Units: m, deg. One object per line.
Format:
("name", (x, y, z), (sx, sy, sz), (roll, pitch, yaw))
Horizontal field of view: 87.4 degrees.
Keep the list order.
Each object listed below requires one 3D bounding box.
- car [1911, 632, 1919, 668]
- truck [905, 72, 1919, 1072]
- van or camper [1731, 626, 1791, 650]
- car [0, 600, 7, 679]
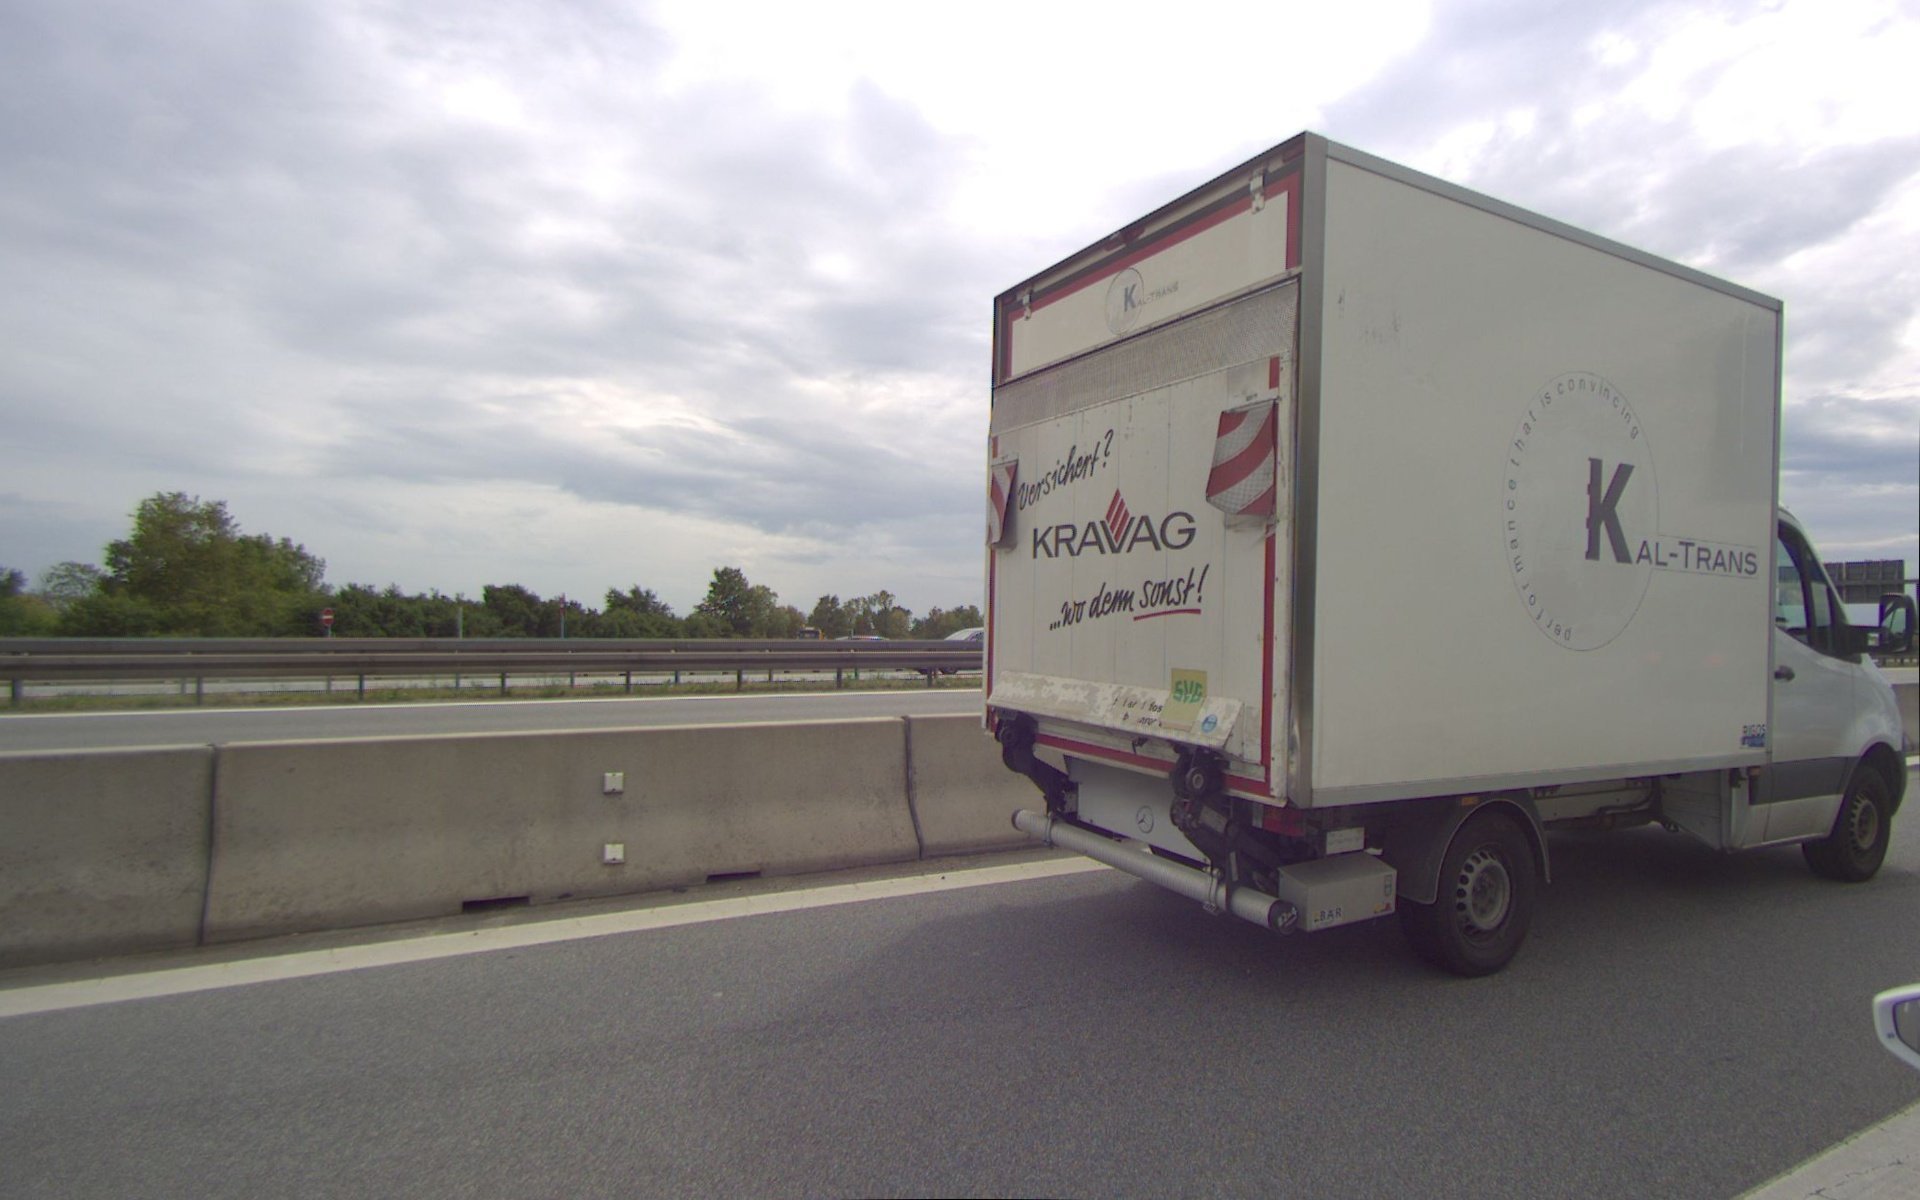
("car", (41.234, 2.098, 41.434), (4.332, 1.469, 1.764), (2, -1, -30))
("truck", (3.052, -0.017, 5.719), (6.291, 3.131, 2.394), (2, -1, -29))
("van or camper", (70.559, 3.363, 88.441), (6.209, 2.040, 2.223), (2, -1, -32))
("car", (-18.314, 0.652, 16.171), (3.953, 1.387, 1.744), (1, -1, -30))
